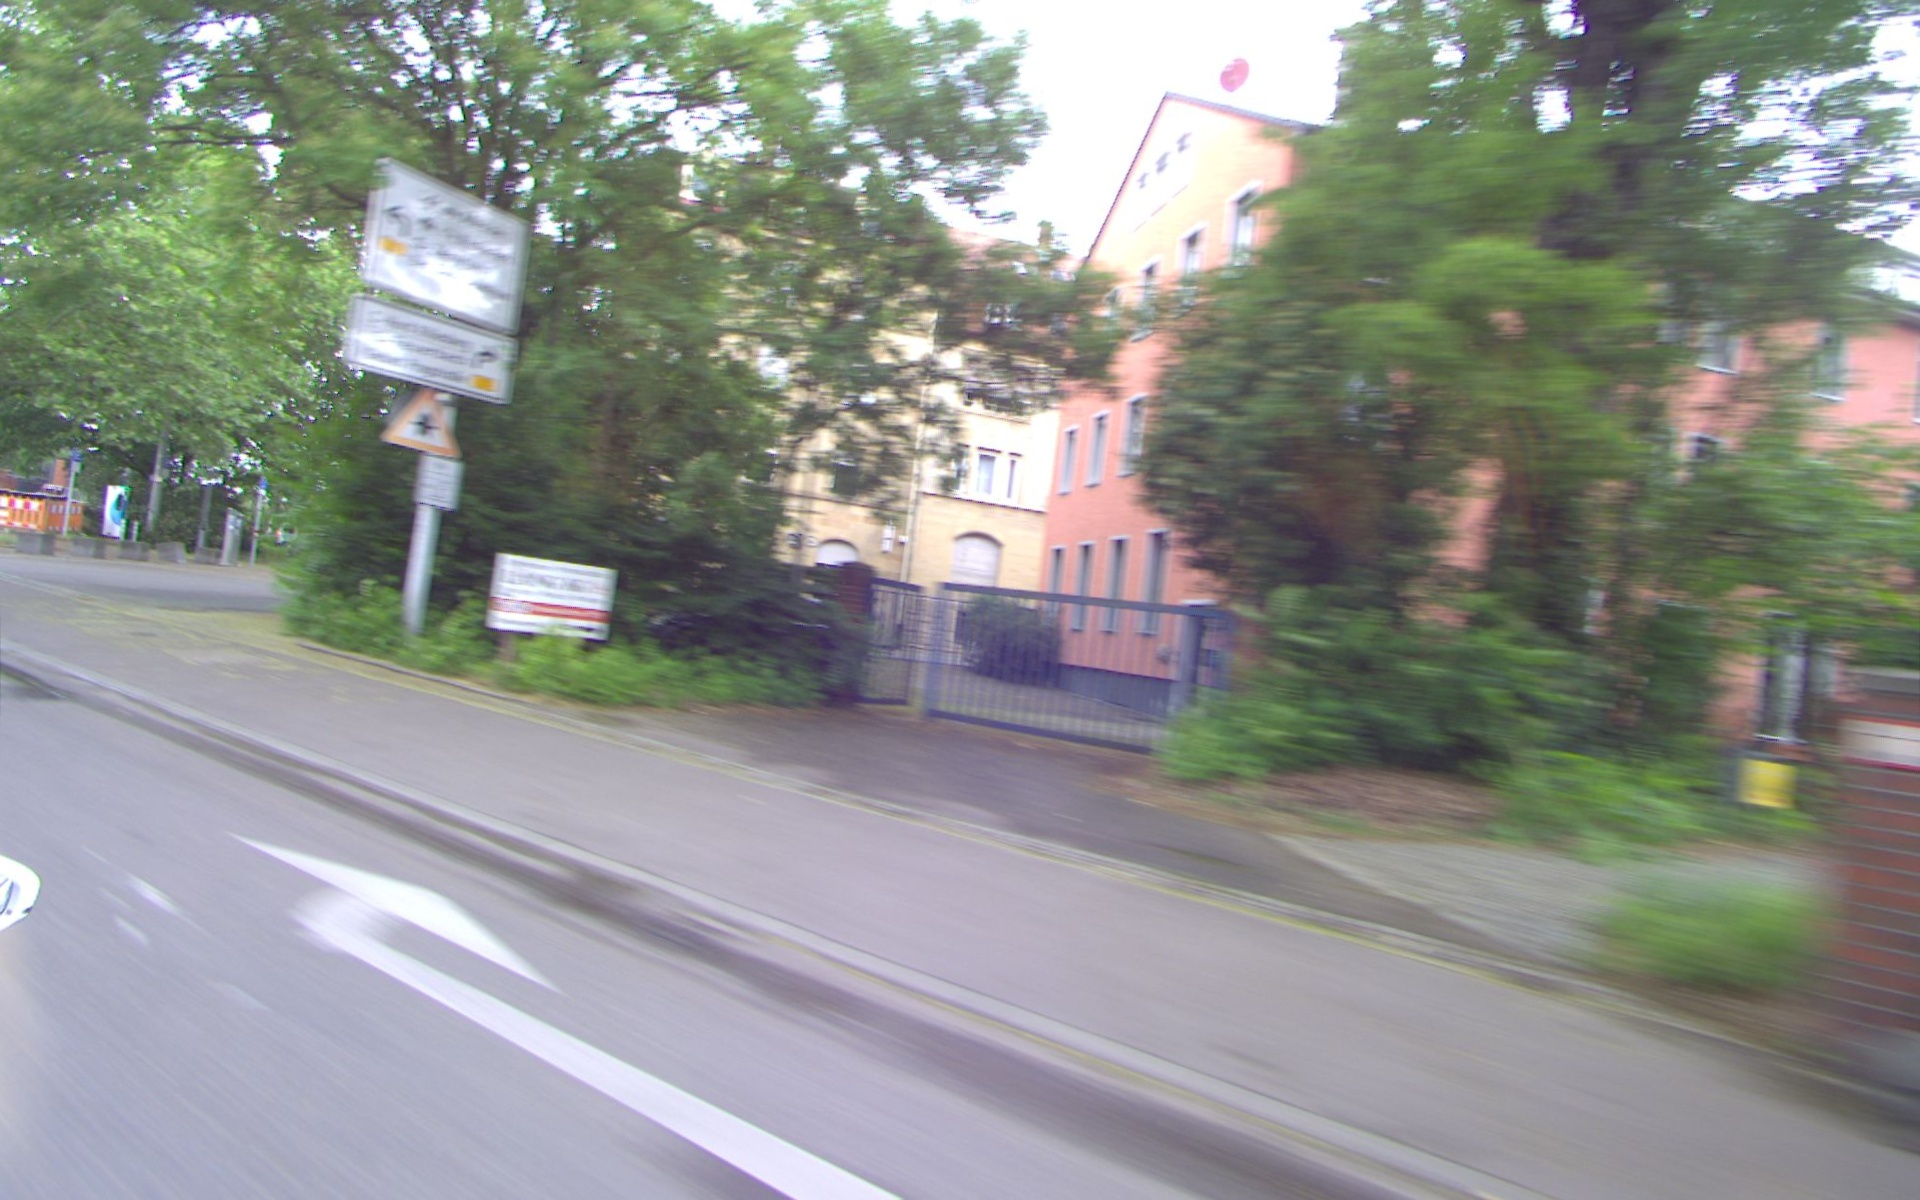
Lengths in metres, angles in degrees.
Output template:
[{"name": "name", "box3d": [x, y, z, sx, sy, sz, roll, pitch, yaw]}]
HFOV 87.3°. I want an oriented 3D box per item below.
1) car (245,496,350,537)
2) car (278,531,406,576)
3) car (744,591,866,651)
[{"name": "car", "box3d": [-36.602, -4.597, 55.733, 4.444, 1.489, 1.713, 7, -1, -20]}, {"name": "car", "box3d": [-27.495, -2.055, 44.901, 4.439, 1.341, 1.714, 7, -1, -17]}, {"name": "car", "box3d": [-5.350, 0.726, 34.573, 3.934, 1.609, 1.617, 7, -1, -12]}]
